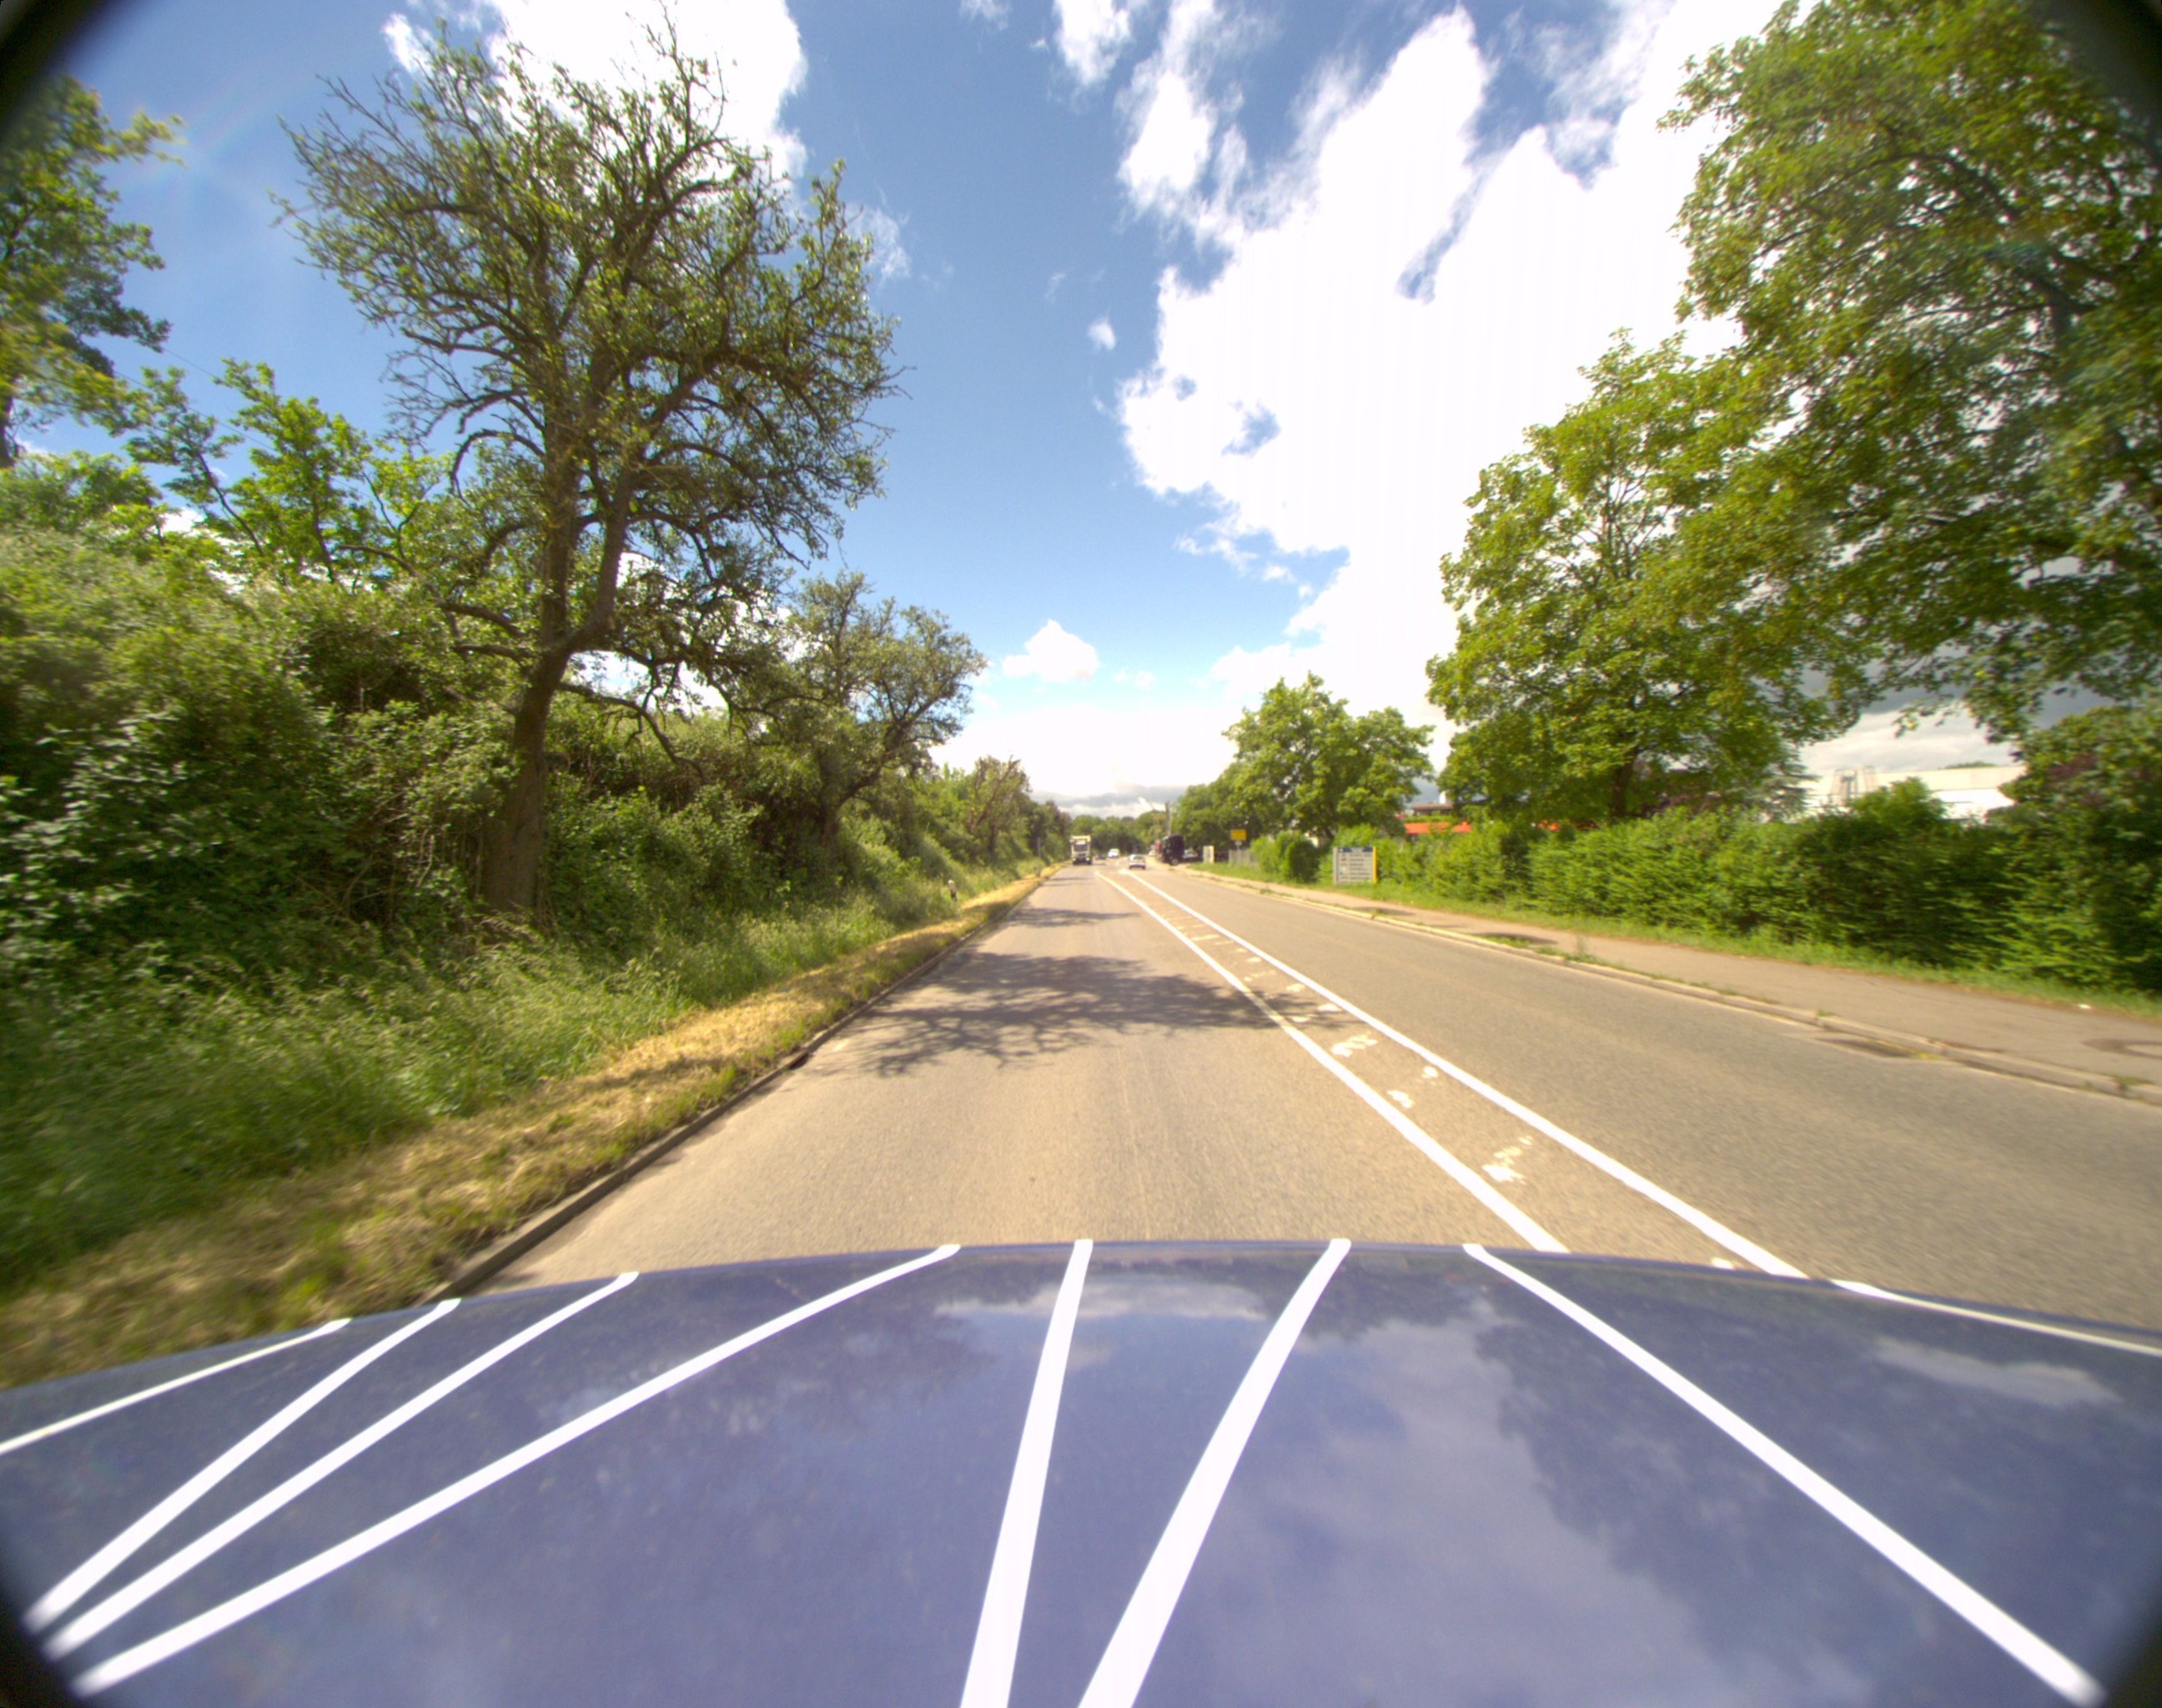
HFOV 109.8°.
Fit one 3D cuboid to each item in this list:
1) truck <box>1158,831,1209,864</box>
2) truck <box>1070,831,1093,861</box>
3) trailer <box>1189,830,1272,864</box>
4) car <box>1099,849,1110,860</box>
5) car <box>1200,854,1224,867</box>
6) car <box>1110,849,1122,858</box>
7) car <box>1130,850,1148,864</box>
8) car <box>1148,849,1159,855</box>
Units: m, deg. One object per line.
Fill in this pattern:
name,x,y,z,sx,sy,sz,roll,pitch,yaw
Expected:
truck,12.316,-0.780,91.373,5.570,3.802,2.983,0,1,-3
truck,0.110,-1.067,102.647,2.904,3.746,9.634,0,1,1
trailer,18.167,-0.890,92.562,9.471,4.059,3.315,-1,1,-14
car,4.405,0.042,140.743,1.953,2.002,4.001,0,0,4
car,17.280,0.852,100.065,1.932,1.711,4.608,-1,0,25
car,7.391,-0.072,162.284,1.952,2.002,4.003,0,0,11
car,5.826,0.311,76.054,1.664,1.423,3.693,0,0,3
car,17.432,-0.572,182.315,1.996,1.442,4.430,1,1,12
